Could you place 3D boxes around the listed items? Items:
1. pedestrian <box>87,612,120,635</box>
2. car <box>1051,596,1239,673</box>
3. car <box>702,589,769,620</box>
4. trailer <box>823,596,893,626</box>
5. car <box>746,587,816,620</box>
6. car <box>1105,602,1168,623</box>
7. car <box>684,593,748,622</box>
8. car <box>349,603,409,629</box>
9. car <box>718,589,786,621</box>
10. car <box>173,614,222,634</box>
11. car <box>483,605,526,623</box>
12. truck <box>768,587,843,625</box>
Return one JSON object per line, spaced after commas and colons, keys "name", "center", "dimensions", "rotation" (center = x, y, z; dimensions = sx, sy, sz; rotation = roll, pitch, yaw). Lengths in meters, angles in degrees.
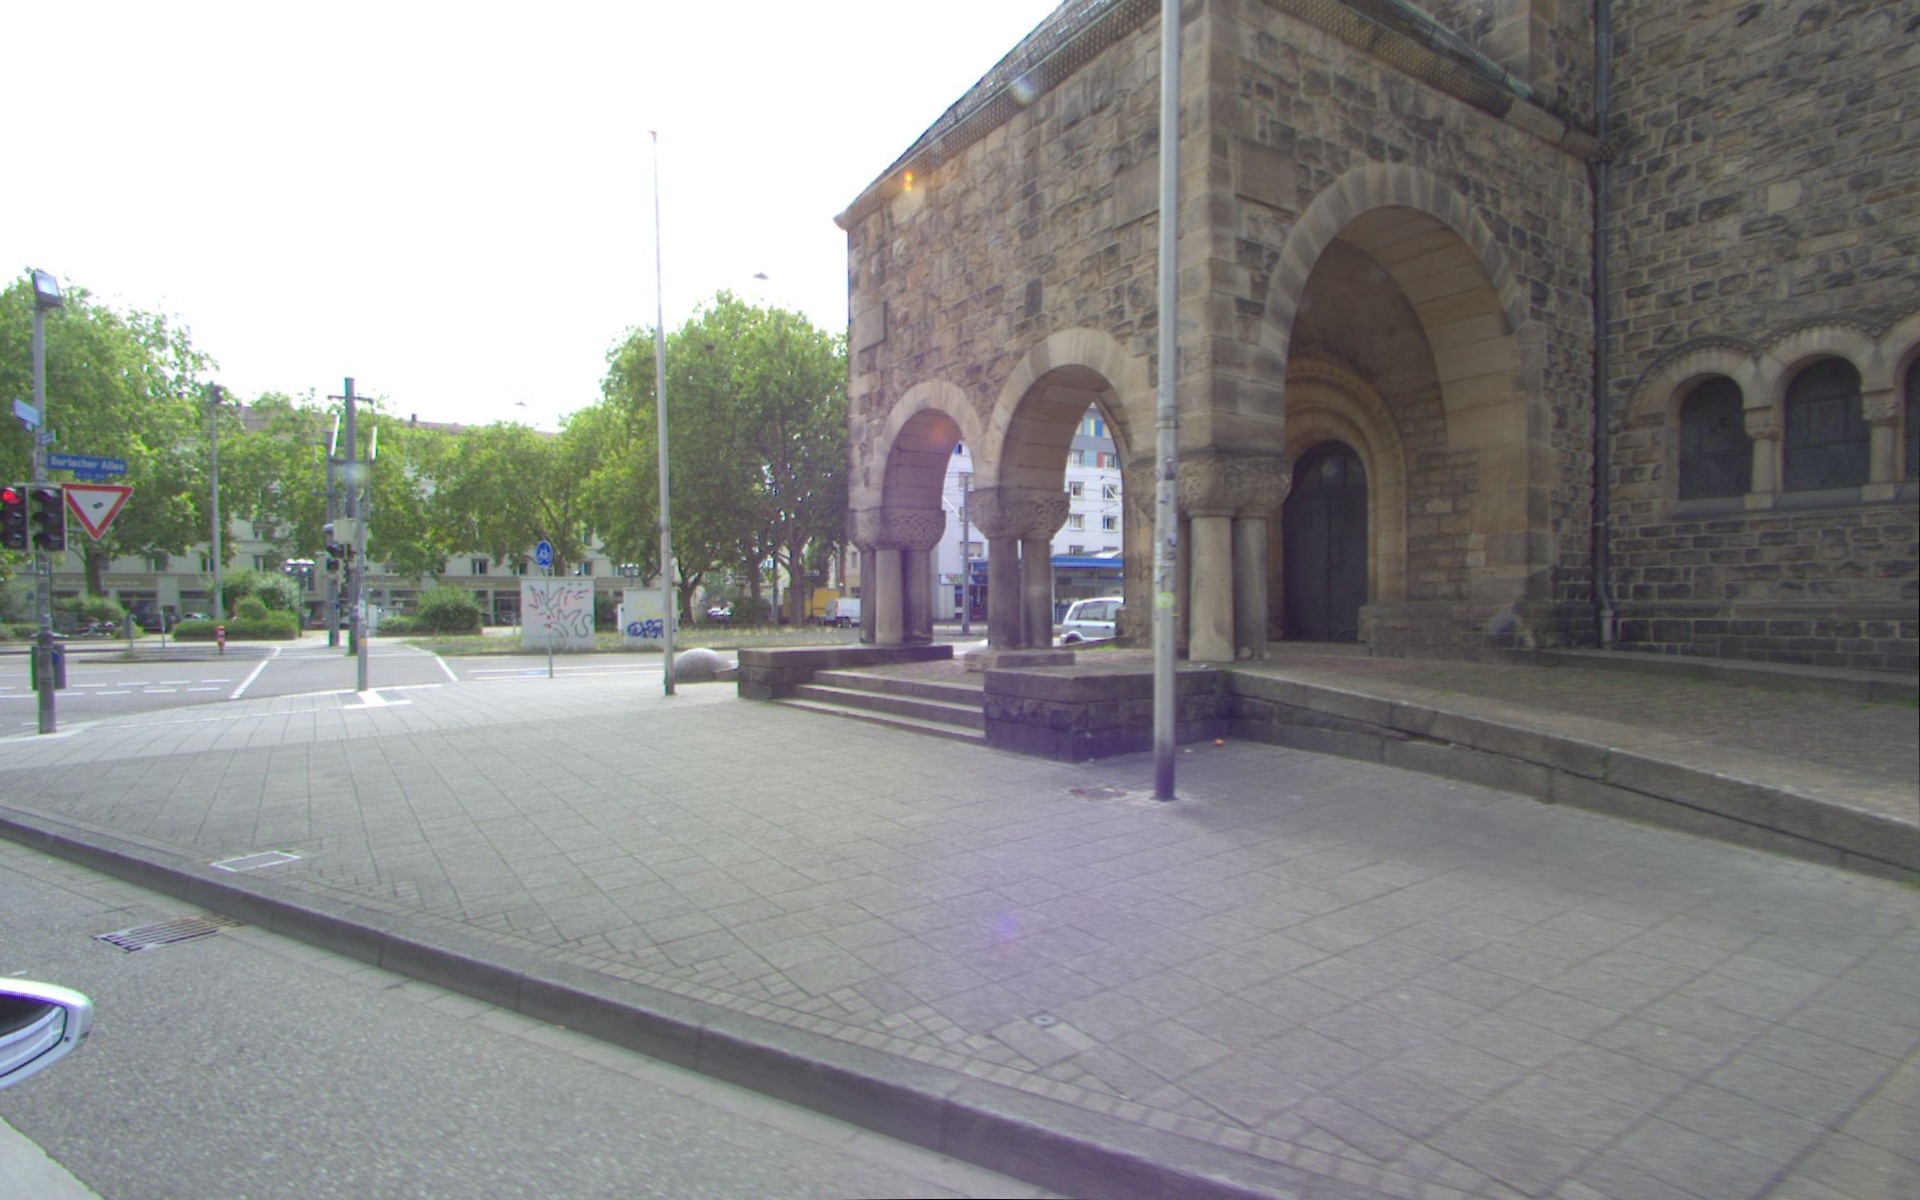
{"name": "pedestrian", "center": [-48.687, 1.335, 56.936], "dimensions": [1.422, 1.252, 1.087], "rotation": [-1, 1, 37]}
{"name": "car", "center": [4.058, 0.724, 22.558], "dimensions": [1.992, 1.563, 4.002], "rotation": [0, 0, -33]}
{"name": "car", "center": [-19.868, 0.428, 88.783], "dimensions": [5.269, 2.618, 2.482], "rotation": [0, -1, -36]}
{"name": "trailer", "center": [-6.931, 0.721, 67.973], "dimensions": [4.377, 1.951, 1.843], "rotation": [0, 0, -33]}
{"name": "car", "center": [-14.873, 0.319, 83.312], "dimensions": [5.269, 2.618, 2.165], "rotation": [0, -1, -36]}
{"name": "car", "center": [13.534, 0.946, 76.624], "dimensions": [4.554, 1.535, 1.985], "rotation": [0, -1, -31]}
{"name": "car", "center": [-22.668, 0.704, 93.049], "dimensions": [5.269, 2.618, 2.482], "rotation": [0, -1, -36]}
{"name": "car", "center": [-45.107, 1.219, 77.795], "dimensions": [3.946, 1.908, 1.846], "rotation": [0, 0, -34]}
{"name": "car", "center": [-17.963, 0.429, 86.556], "dimensions": [5.269, 2.618, 2.482], "rotation": [0, -1, -36]}
{"name": "car", "center": [-57.625, 1.794, 75.682], "dimensions": [3.949, 1.523, 1.986], "rotation": [0, 0, 37]}
{"name": "car", "center": [-40.066, 1.214, 88.087], "dimensions": [3.949, 1.523, 1.760], "rotation": [0, 0, 37]}
{"name": "truck", "center": [-11.515, 0.437, 74.049], "dimensions": [3.040, 2.612, 6.468], "rotation": [0, 0, -34]}
